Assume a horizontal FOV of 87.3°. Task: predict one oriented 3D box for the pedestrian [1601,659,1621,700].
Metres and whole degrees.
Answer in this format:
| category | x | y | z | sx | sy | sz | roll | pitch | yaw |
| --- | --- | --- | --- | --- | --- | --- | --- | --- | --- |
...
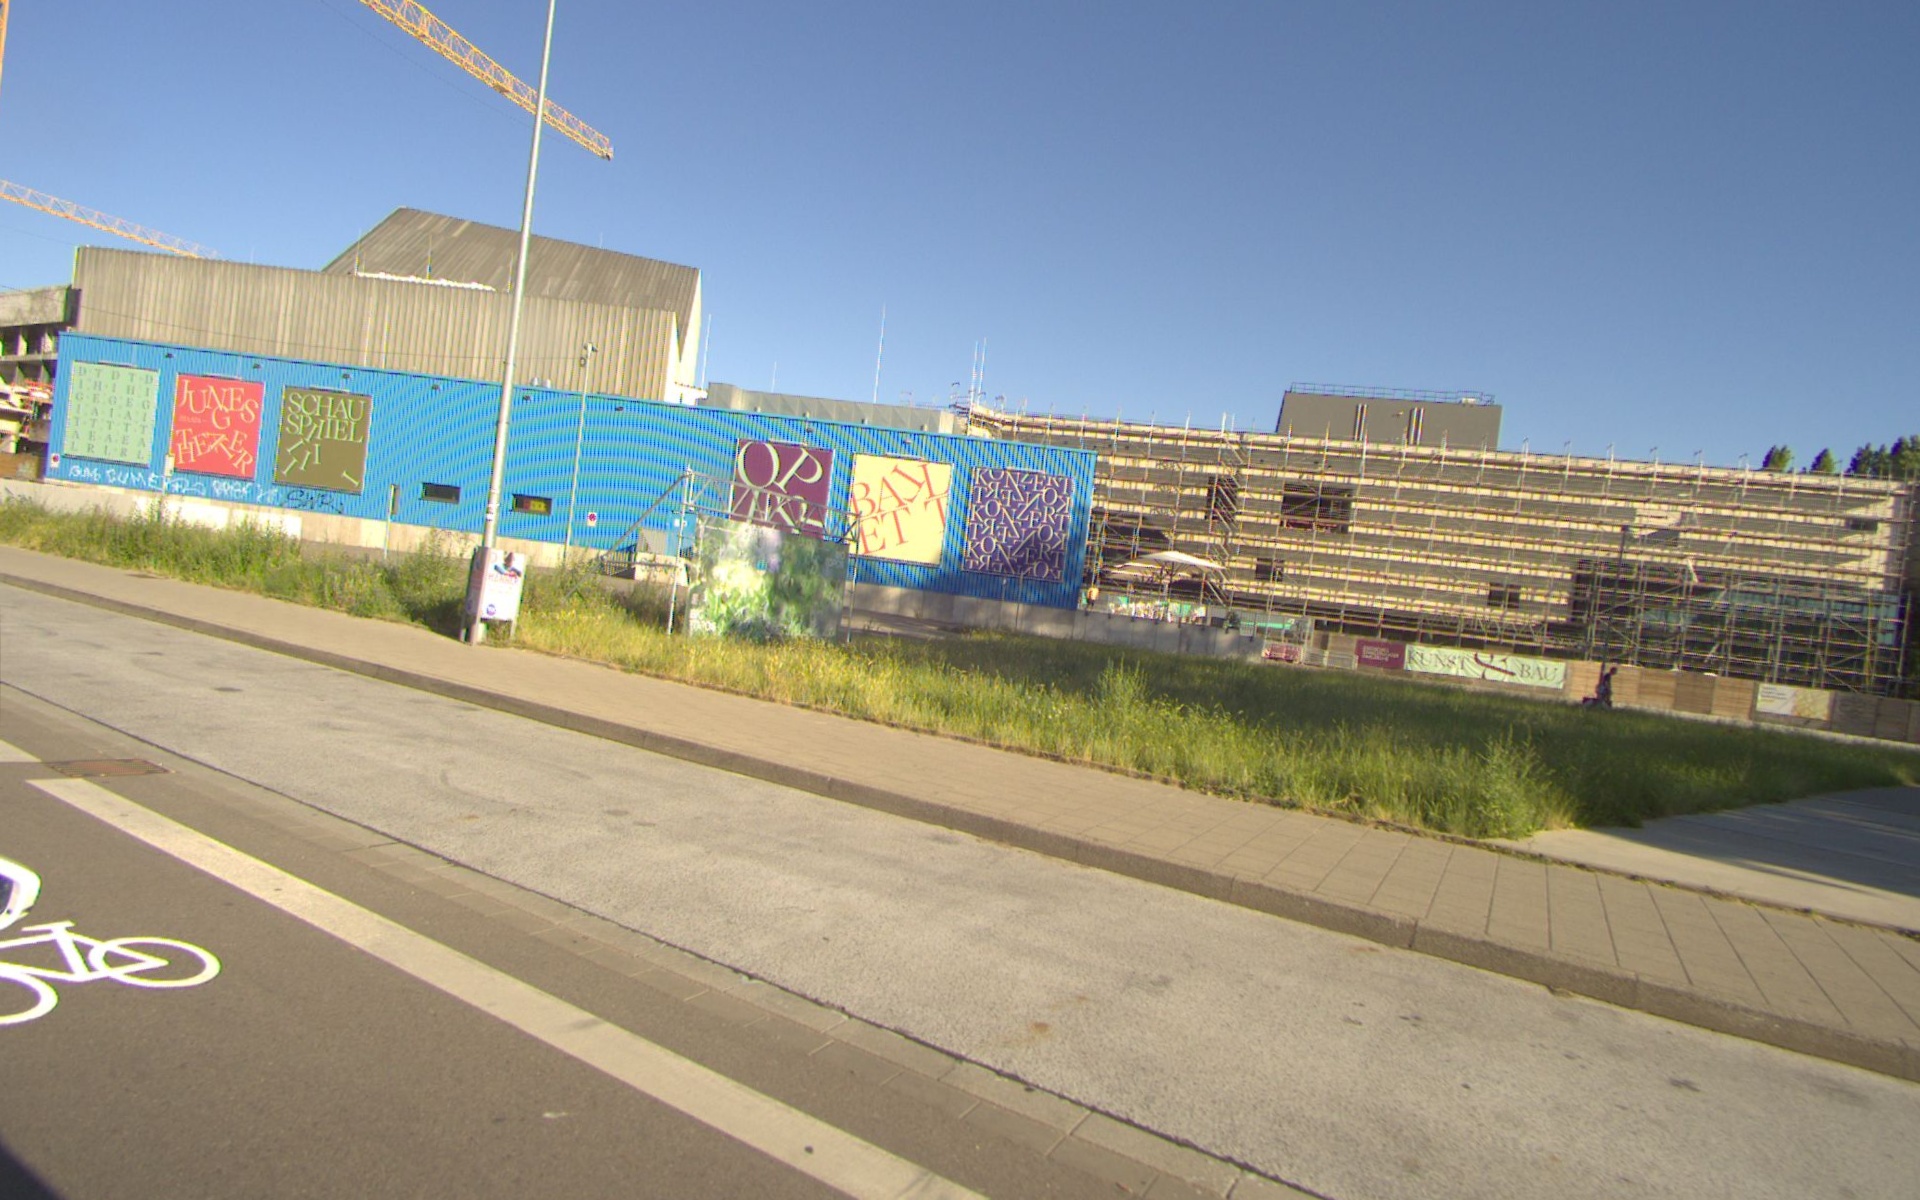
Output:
| category | x | y | z | sx | sy | sz | roll | pitch | yaw |
| --- | --- | --- | --- | --- | --- | --- | --- | --- | --- |
| pedestrian | 22.118 | 2.698 | 34.180 | 0.434 | 1.310 | 0.573 | 5 | -3 | 32 |
